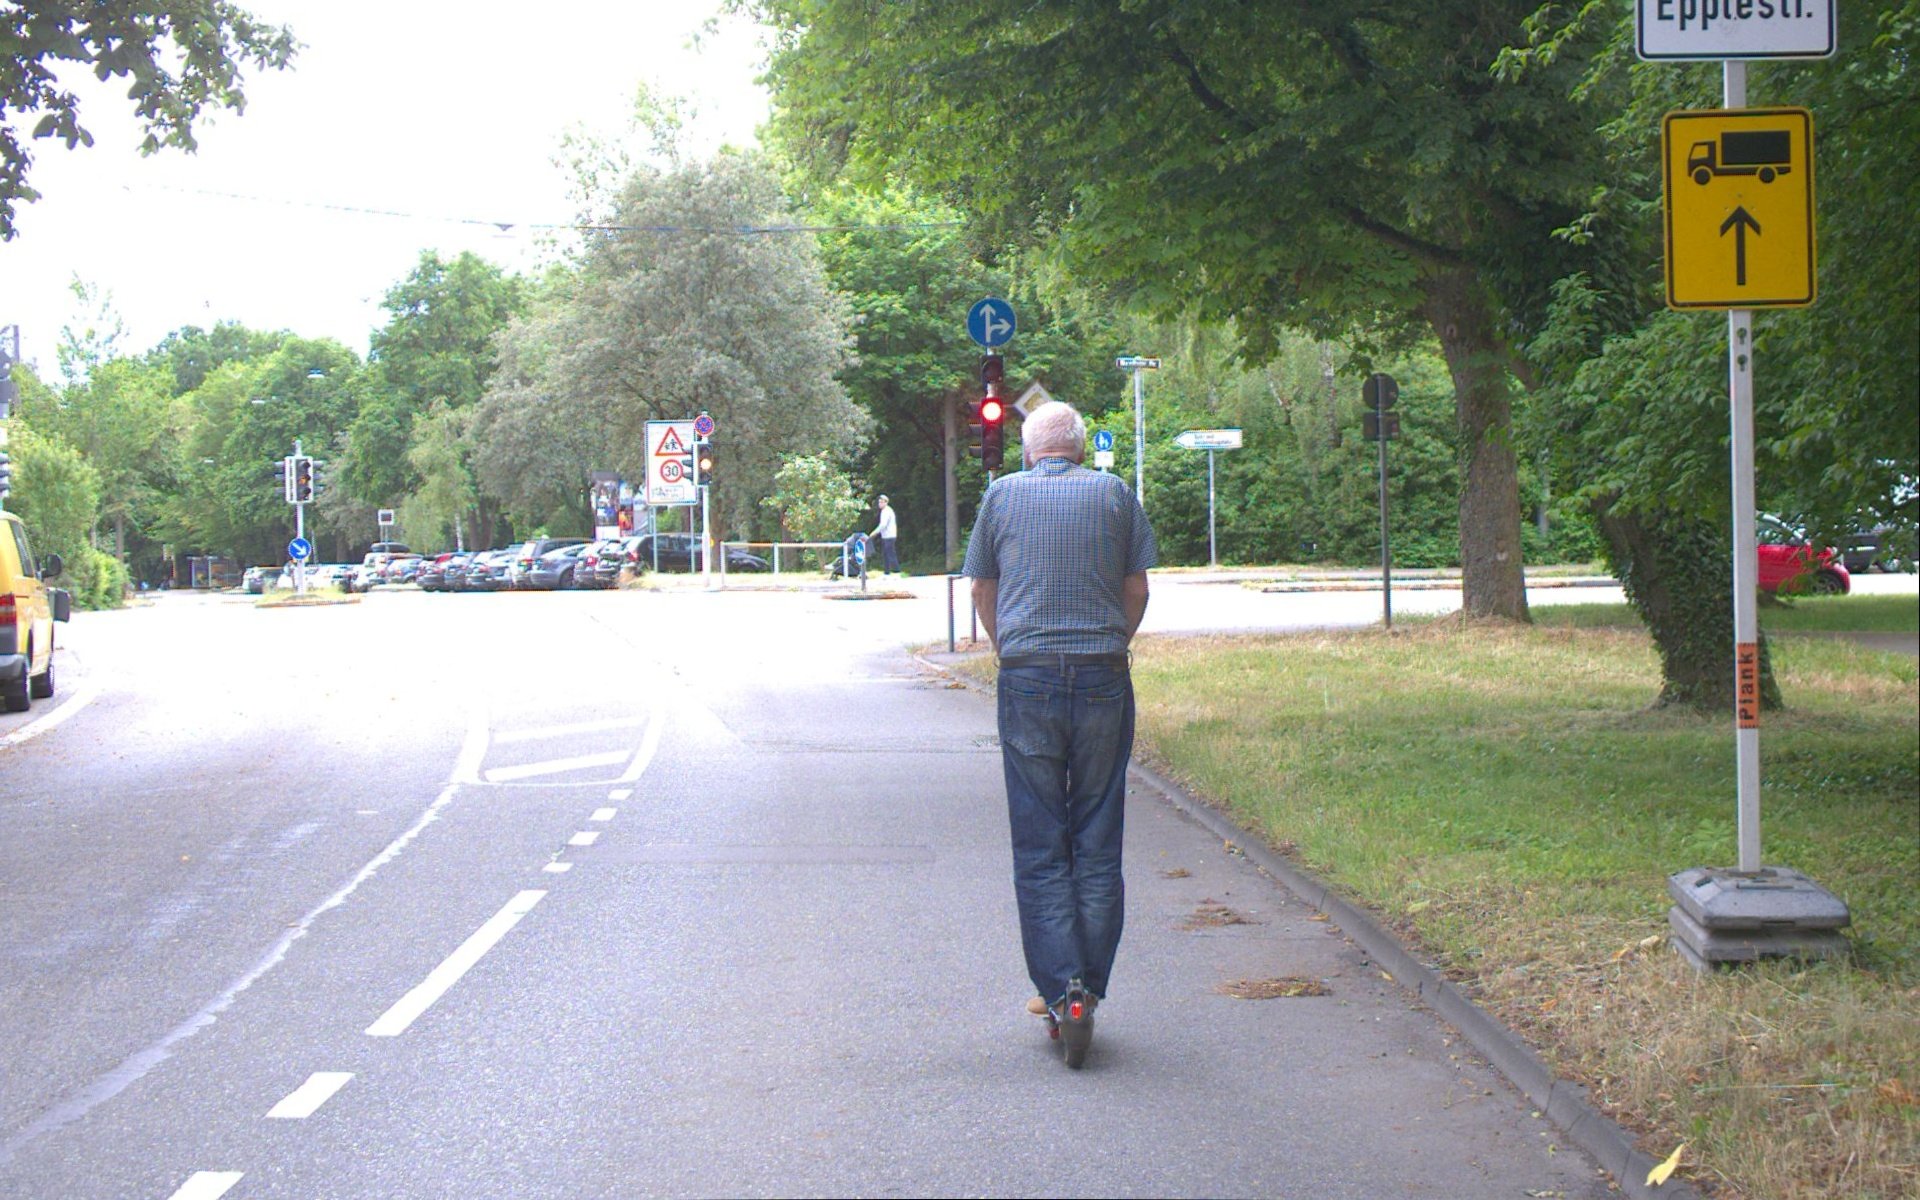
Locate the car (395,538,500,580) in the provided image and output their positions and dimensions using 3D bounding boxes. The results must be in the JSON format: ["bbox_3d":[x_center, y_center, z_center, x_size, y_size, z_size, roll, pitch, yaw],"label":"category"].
[{"bbox_3d":[-20.021,-1.611,134.363,3.986,1.505,1.800,-2,1,-7],"label":"car"}]

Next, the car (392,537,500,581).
[{"bbox_3d":[-19.511,-1.558,130.634,3.986,1.505,1.800,-2,1,-7],"label":"car"}]

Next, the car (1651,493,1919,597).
[{"bbox_3d":[13.126,-0.891,54.872,3.988,1.551,1.800,0,4,8],"label":"car"}]

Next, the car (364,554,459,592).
[{"bbox_3d":[-23.696,-1.176,148.608,3.986,1.505,1.800,-2,1,-7],"label":"car"}]

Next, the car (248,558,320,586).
[{"bbox_3d":[-39.825,-1.650,202.594,3.986,1.505,1.800,-2,1,-7],"label":"car"}]

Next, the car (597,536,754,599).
[{"bbox_3d":[-7.514,-0.868,90.524,3.986,1.505,1.800,-2,1,-7],"label":"car"}]

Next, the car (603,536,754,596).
[{"bbox_3d":[-7.706,-0.943,94.099,3.986,1.505,1.800,-2,1,-7],"label":"car"}]

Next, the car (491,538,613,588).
[{"bbox_3d":[-13.632,-1.247,114.802,3.986,1.505,1.800,-2,1,-7],"label":"car"}]

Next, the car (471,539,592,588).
[{"bbox_3d":[-14.533,-1.243,116.633,3.986,1.505,1.800,-2,1,-7],"label":"car"}]

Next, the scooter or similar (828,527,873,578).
[{"bbox_3d":[-2.289,-0.995,71.762,0.710,1.045,0.787,-1,1,14],"label":"scooter or similar"}]

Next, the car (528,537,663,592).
[{"bbox_3d":[-11.059,-1.075,104.257,3.986,1.505,1.800,-2,1,-7],"label":"car"}]

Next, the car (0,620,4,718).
[{"bbox_3d":[-9.202,0.410,28.392,1.794,1.411,4.190,-2,1,-6],"label":"car"}]

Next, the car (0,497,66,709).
[{"bbox_3d":[-10.002,0.039,33.986,1.857,1.957,4.505,-2,1,-10],"label":"car"}]

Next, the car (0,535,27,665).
[{"bbox_3d":[-13.569,0.037,42.063,3.986,1.505,1.801,-1,3,-10],"label":"car"}]

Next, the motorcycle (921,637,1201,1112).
[{"bbox_3d":[0.261,0.732,9.725,0.672,1.213,1.274,0,1,-4],"label":"motorcycle"}]

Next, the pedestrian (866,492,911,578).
[{"bbox_3d":[-1.490,-1.353,71.400,0.732,1.755,0.661,-1,1,14],"label":"pedestrian"}]

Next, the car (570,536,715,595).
[{"bbox_3d":[-9.012,-0.989,97.562,3.986,1.505,1.800,-2,1,-7],"label":"car"}]

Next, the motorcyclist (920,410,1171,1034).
[{"bbox_3d":[0.238,0.337,10.006,0.672,1.755,0.639,0,1,-4],"label":"motorcyclist"}]

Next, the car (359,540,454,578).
[{"bbox_3d":[-24.283,-1.793,150.912,3.986,1.505,1.800,-2,1,-7],"label":"car"}]
